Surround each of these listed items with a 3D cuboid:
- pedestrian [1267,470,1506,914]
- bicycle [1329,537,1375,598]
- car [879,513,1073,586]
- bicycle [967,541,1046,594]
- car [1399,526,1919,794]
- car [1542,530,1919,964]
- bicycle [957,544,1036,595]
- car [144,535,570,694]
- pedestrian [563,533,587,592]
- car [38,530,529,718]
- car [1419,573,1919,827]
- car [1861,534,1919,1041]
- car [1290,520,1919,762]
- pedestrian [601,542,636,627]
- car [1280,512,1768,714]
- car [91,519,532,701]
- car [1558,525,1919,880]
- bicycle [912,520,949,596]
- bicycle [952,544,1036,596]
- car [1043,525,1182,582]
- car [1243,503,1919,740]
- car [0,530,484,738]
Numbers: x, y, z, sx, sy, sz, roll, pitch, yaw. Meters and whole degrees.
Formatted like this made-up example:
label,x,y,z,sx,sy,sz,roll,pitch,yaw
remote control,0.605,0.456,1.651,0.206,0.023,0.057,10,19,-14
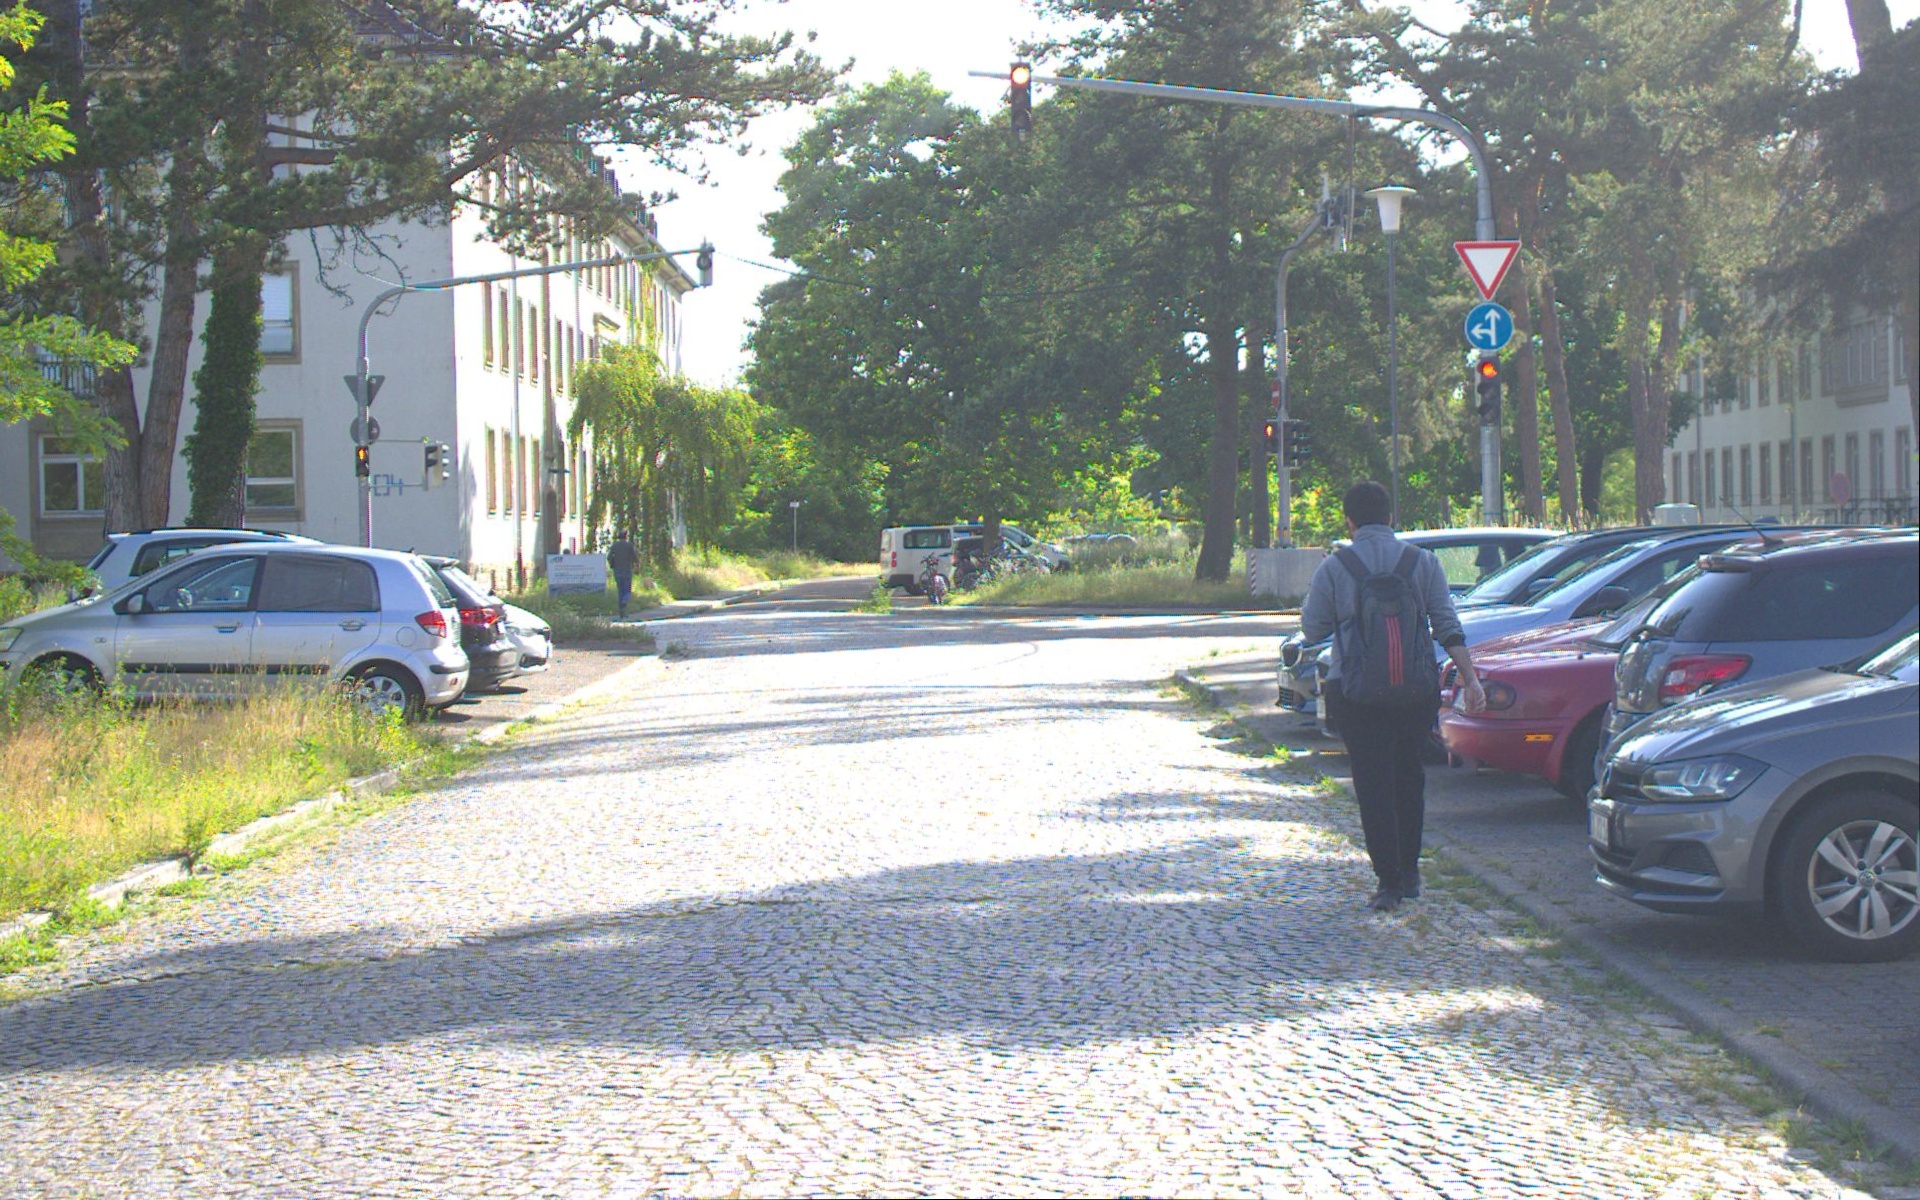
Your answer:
label,x,y,z,sx,sy,sz,roll,pitch,yaw
pedestrian,1.730,0.360,14.071,0.753,1.719,0.828,4,1,-1
bicycle,7.451,-0.633,65.243,0.722,1.111,2.583,-1,1,9
car,0.416,-1.412,95.062,5.065,1.911,2.001,-1,1,-9
bicycle,1.061,-0.740,78.388,1.727,1.160,0.561,-1,1,-3
car,4.753,0.318,20.613,3.979,1.443,1.656,-2,1,-1
car,4.209,0.448,12.759,3.781,1.445,1.758,-2,1,2
bicycle,0.830,-0.687,77.708,1.727,1.108,0.484,-1,1,-3
car,-6.178,0.124,35.454,3.987,1.491,1.772,1,1,5
pedestrian,-10.213,-1.004,91.261,0.606,1.554,0.545,-1,1,-7
car,-5.852,0.188,30.062,3.937,1.440,1.691,2,1,-1
car,4.268,0.497,18.227,3.460,1.238,1.536,-1,1,0
car,4.624,0.519,9.826,3.645,1.487,1.634,-1,1,0
car,4.526,0.240,22.925,4.399,1.384,1.789,-2,1,-1
pedestrian,-7.042,-0.323,70.864,0.606,1.746,0.630,-1,1,-13
car,4.570,0.086,28.209,3.673,1.438,1.665,-3,1,0
car,-6.121,0.079,32.730,3.879,1.610,1.661,1,1,-1
car,4.728,0.376,15.644,3.663,1.450,1.667,-3,1,0
bicycle,-0.638,-0.912,73.704,0.753,1.575,2.537,-1,1,-1
bicycle,0.765,-0.676,77.164,1.834,1.108,0.495,-1,1,-3
car,4.389,-1.357,98.970,3.743,1.574,1.742,-1,1,-7
car,4.571,0.131,25.762,4.619,1.450,1.870,-3,1,-2
car,-5.745,0.250,27.401,3.685,1.522,1.699,1,1,-2
